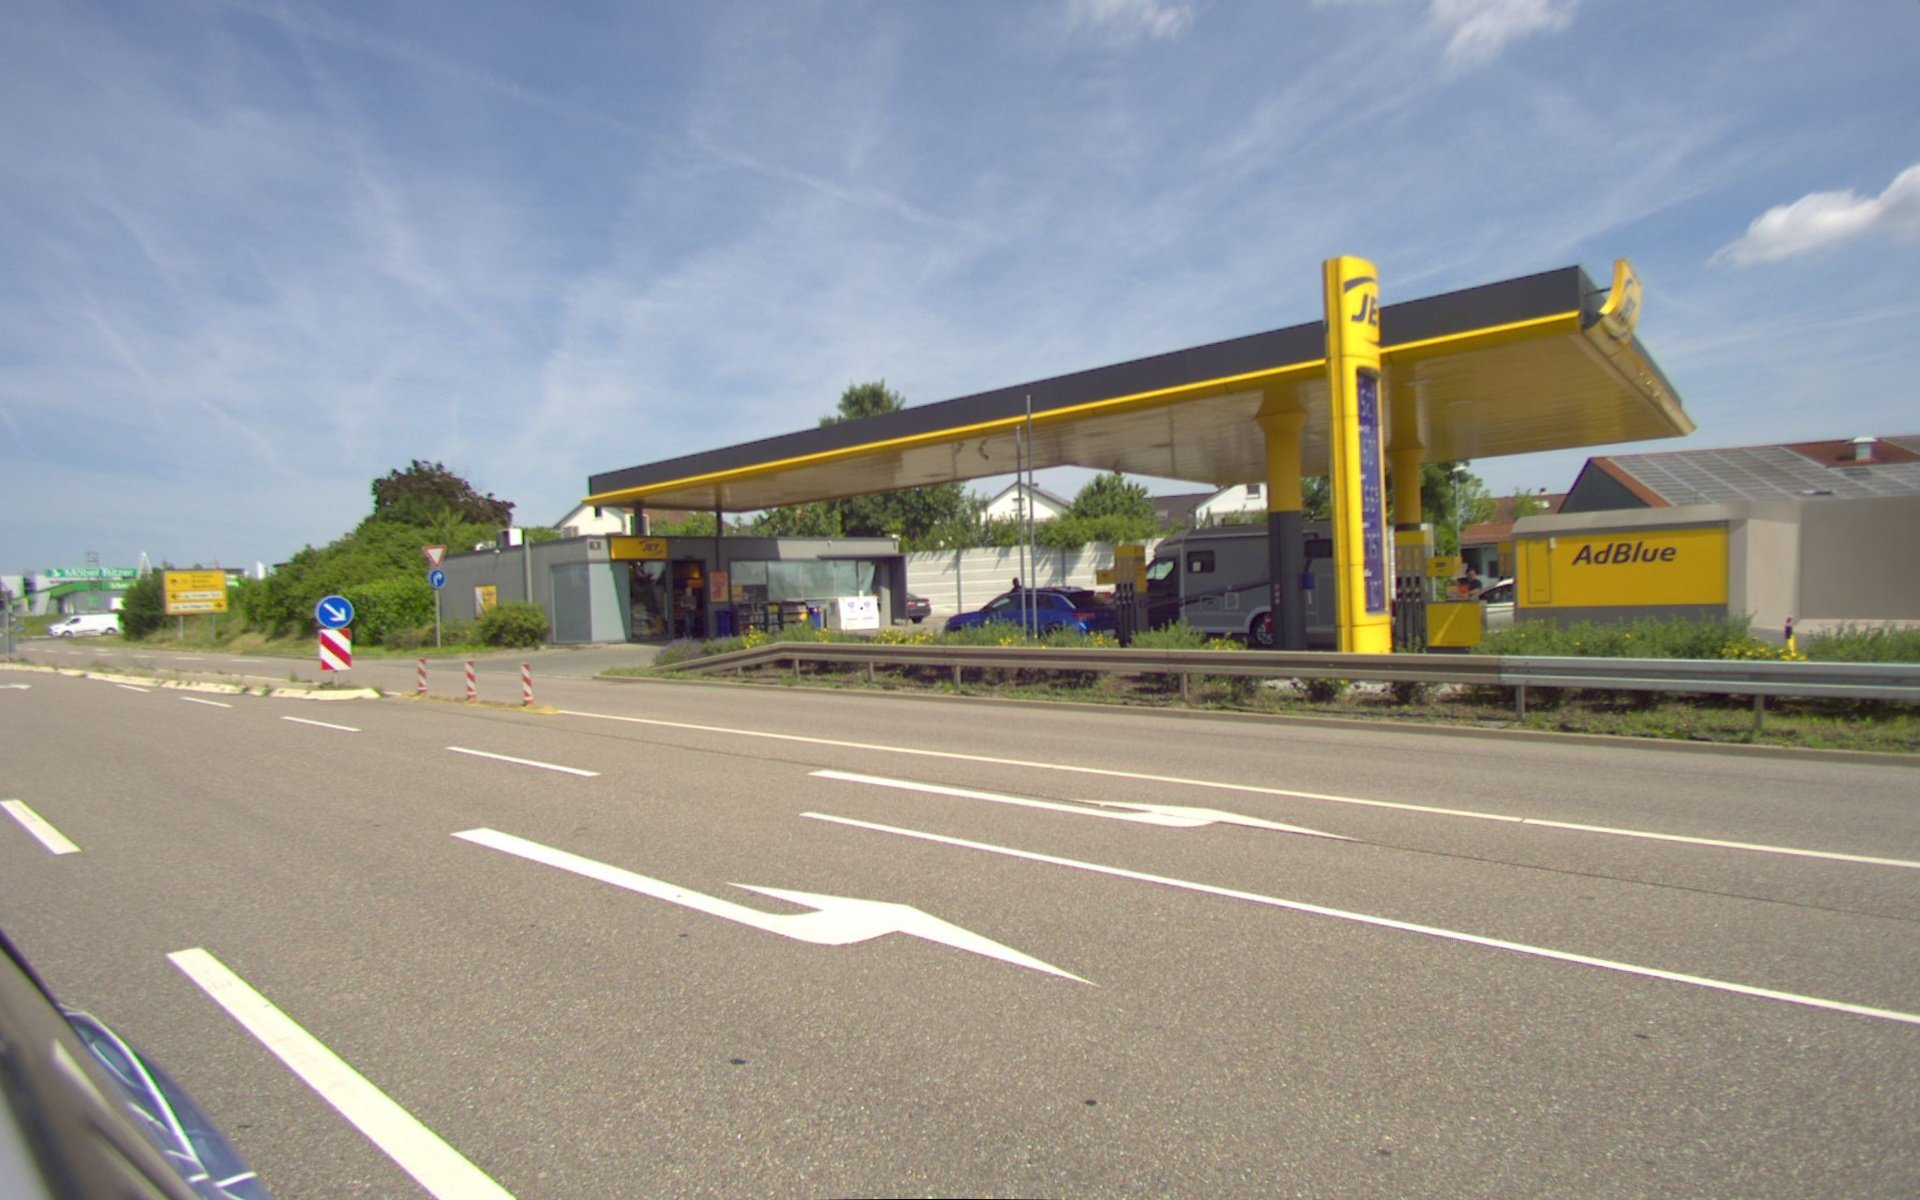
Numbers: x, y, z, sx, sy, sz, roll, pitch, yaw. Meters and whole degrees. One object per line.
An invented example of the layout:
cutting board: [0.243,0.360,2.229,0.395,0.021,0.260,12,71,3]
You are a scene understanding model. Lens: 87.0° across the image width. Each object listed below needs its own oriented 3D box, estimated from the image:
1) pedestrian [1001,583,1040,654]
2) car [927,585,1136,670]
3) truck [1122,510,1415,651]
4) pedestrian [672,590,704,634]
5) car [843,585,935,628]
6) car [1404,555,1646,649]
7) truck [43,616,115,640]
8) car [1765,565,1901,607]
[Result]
pedestrian: [1.602,0.484,26.860,0.639,1.852,0.788,-2,-1,42]
car: [1.537,0.627,22.559,4.258,1.719,1.975,-2,-2,38]
truck: [7.159,-0.381,24.013,6.279,2.944,2.222,-1,0,40]
pedestrian: [-9.103,0.400,33.901,0.900,1.438,0.495,-1,0,-38]
car: [-3.103,0.277,43.653,3.987,1.747,1.598,0,1,42]
car: [11.484,0.110,20.747,4.001,1.741,1.713,-2,-3,44]
truck: [-83.297,2.610,95.737,1.995,2.024,4.719,-2,0,35]
car: [36.189,-0.556,42.076,3.851,1.625,1.740,-2,-1,23]
